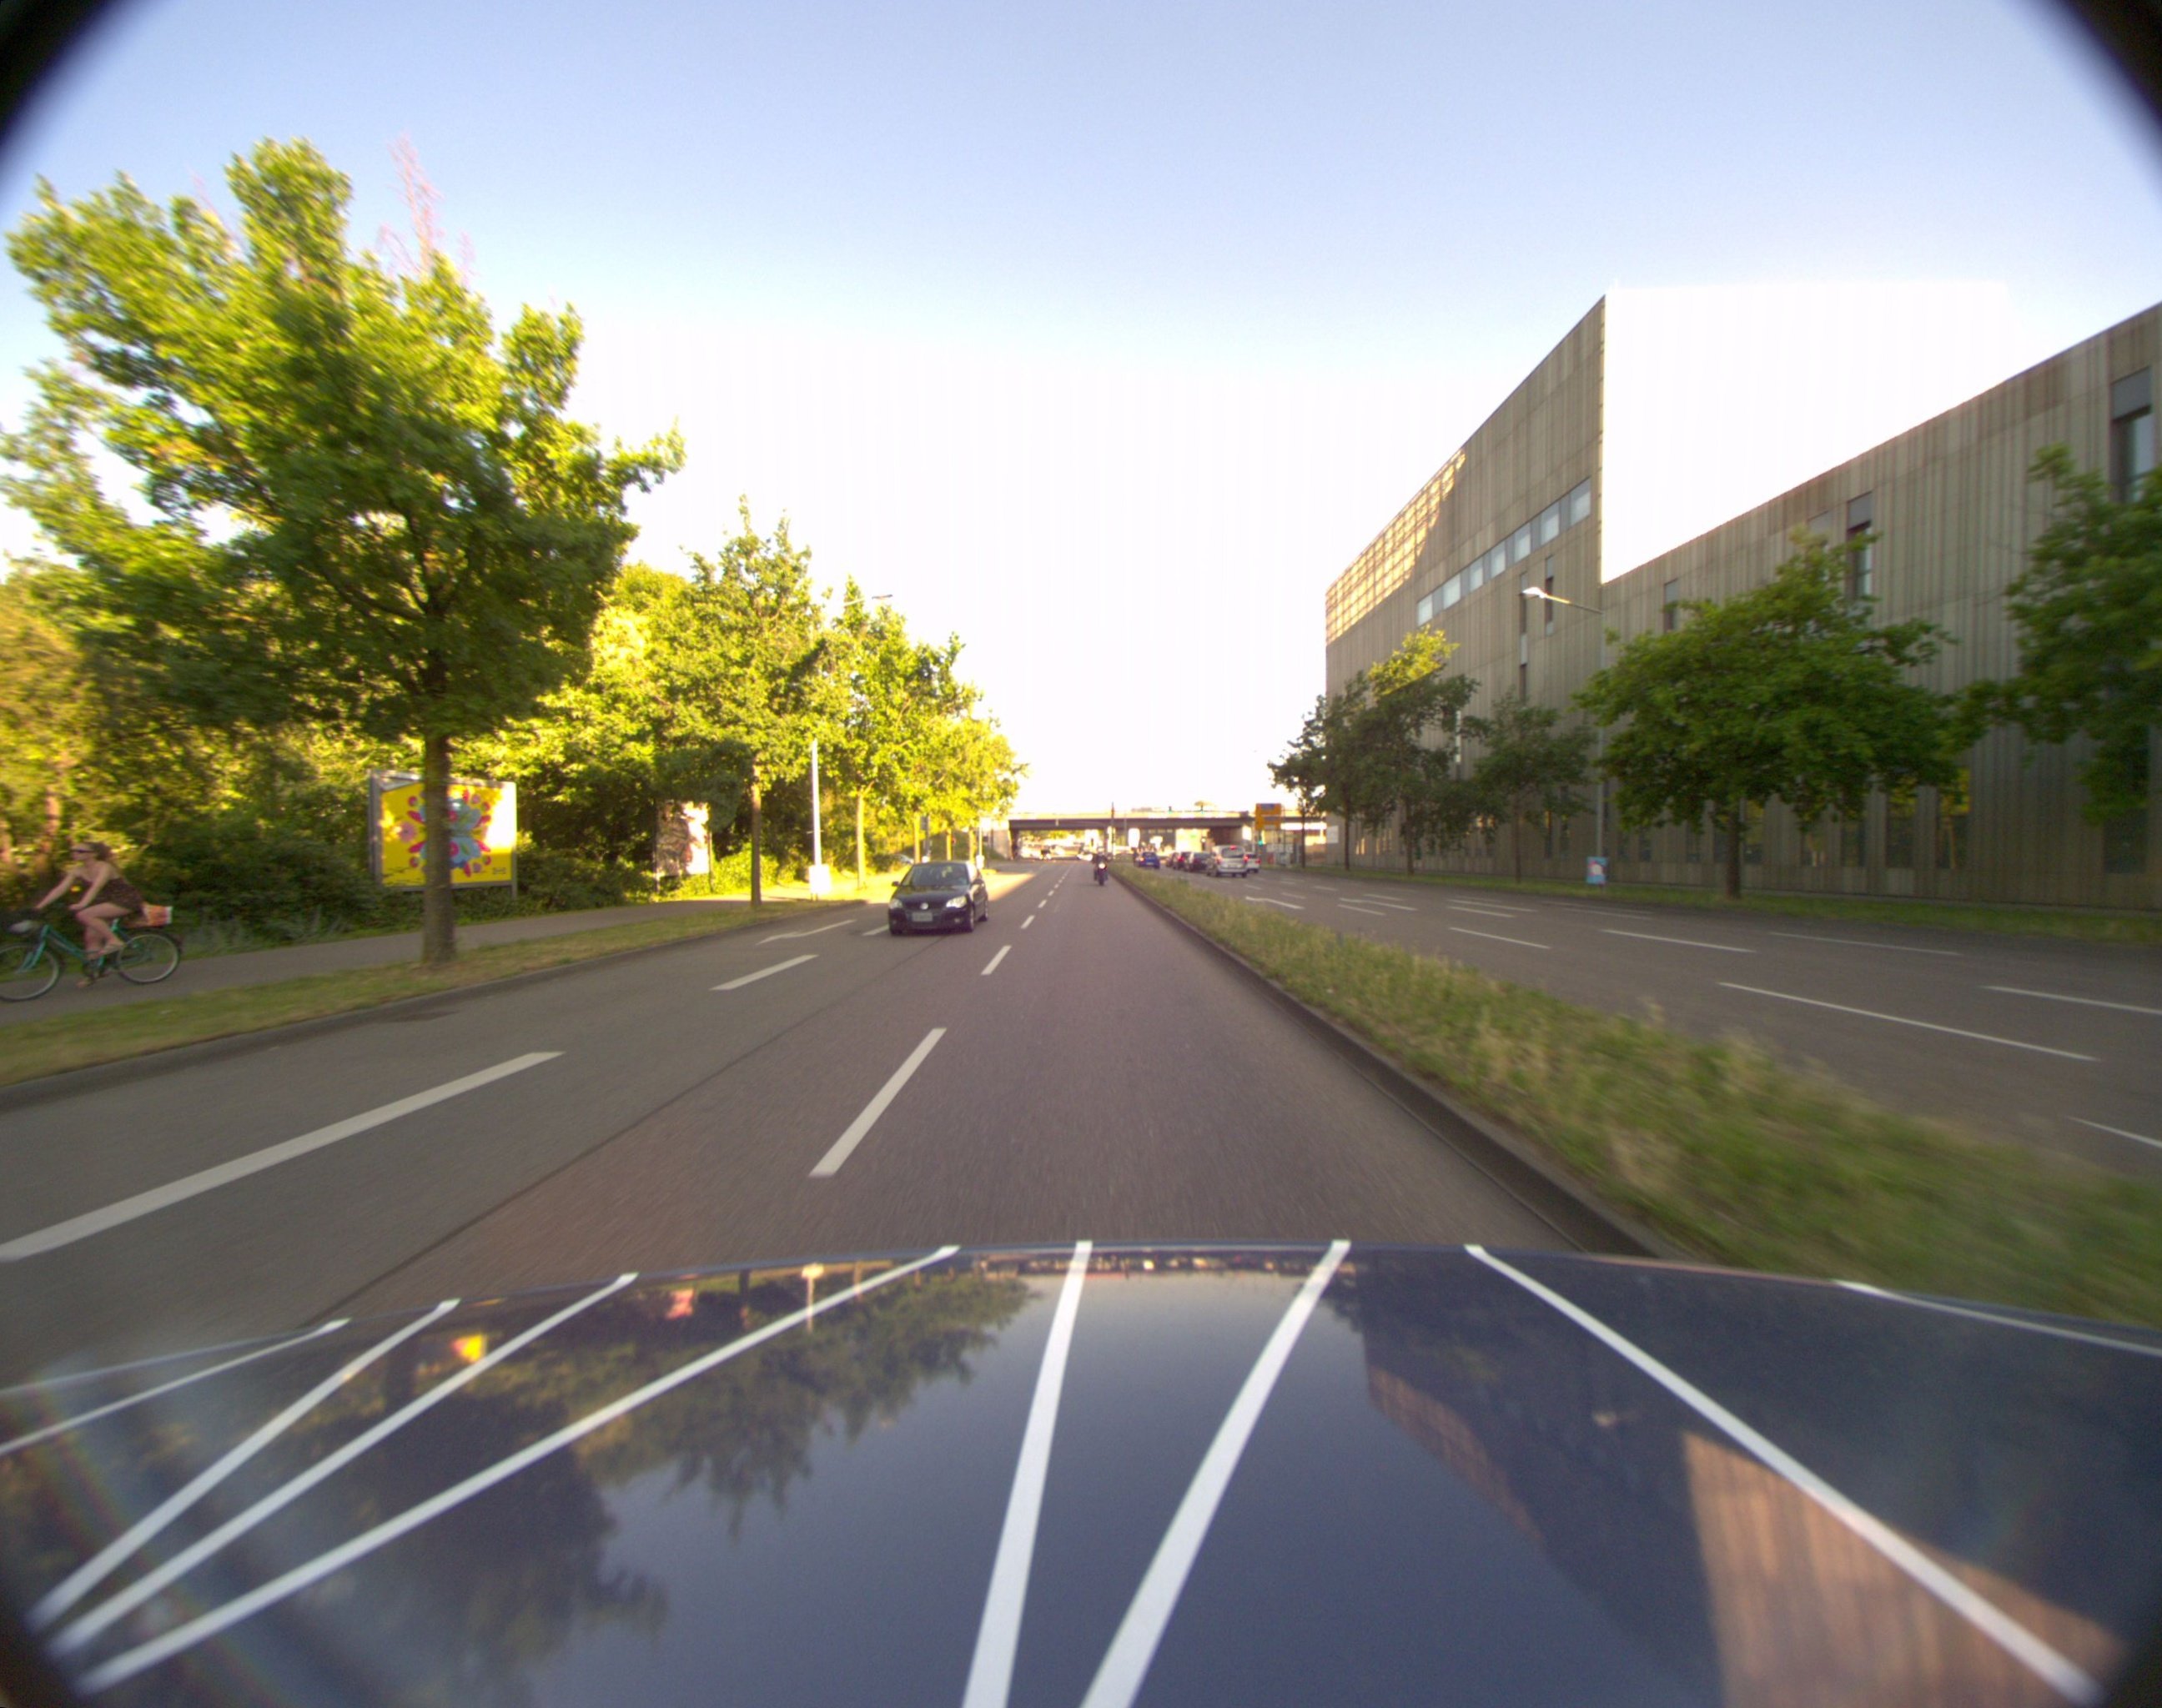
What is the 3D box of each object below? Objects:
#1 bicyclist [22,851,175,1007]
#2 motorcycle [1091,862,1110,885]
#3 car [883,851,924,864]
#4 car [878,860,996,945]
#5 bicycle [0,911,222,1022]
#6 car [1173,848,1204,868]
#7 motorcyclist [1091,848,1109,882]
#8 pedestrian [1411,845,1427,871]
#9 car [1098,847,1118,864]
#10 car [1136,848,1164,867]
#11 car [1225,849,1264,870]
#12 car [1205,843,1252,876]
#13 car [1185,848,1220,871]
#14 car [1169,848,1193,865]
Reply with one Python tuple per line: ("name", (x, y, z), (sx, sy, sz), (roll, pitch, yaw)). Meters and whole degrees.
("bicyclist", (-11.397, 0.832, 8.847), (0.604, 1.723, 0.848), (-1, 1, 2))
("motorcycle", (0.858, 0.863, 34.318), (0.749, 0.978, 2.140), (0, 1, -1))
("car", (-21.041, 0.410, 90.069), (4.285, 1.510, 1.932), (0, 1, 4))
("car", (-2.921, 0.918, 16.276), (1.726, 1.490, 4.213), (-2, 0, -1))
("bicycle", (-11.415, 1.238, 8.757), (0.618, 0.968, 2.058), (-1, 1, 2))
("car", (8.446, 0.289, 59.957), (1.930, 1.510, 3.999), (0, 1, 0))
("motorcyclist", (0.854, 0.490, 34.331), (0.734, 1.503, 0.919), (0, 1, -1))
("pedestrian", (21.220, 0.226, 47.676), (0.698, 1.619, 0.725), (0, 1, 0))
("car", (2.648, 0.087, 74.199), (1.930, 1.596, 4.000), (0, 1, 2))
("car", (5.589, 0.236, 61.928), (1.840, 1.510, 3.951), (0, 1, -1))
("car", (12.046, 0.396, 56.190), (1.850, 1.464, 4.815), (1, 1, 1))
("car", (8.552, 0.287, 44.431), (1.998, 1.805, 4.401), (0, 1, 2))
("car", (8.498, 0.338, 53.542), (1.930, 1.510, 4.290), (0, 1, 2))
("car", (8.782, 0.200, 66.862), (1.695, 1.425, 3.771), (0, 1, 0))
